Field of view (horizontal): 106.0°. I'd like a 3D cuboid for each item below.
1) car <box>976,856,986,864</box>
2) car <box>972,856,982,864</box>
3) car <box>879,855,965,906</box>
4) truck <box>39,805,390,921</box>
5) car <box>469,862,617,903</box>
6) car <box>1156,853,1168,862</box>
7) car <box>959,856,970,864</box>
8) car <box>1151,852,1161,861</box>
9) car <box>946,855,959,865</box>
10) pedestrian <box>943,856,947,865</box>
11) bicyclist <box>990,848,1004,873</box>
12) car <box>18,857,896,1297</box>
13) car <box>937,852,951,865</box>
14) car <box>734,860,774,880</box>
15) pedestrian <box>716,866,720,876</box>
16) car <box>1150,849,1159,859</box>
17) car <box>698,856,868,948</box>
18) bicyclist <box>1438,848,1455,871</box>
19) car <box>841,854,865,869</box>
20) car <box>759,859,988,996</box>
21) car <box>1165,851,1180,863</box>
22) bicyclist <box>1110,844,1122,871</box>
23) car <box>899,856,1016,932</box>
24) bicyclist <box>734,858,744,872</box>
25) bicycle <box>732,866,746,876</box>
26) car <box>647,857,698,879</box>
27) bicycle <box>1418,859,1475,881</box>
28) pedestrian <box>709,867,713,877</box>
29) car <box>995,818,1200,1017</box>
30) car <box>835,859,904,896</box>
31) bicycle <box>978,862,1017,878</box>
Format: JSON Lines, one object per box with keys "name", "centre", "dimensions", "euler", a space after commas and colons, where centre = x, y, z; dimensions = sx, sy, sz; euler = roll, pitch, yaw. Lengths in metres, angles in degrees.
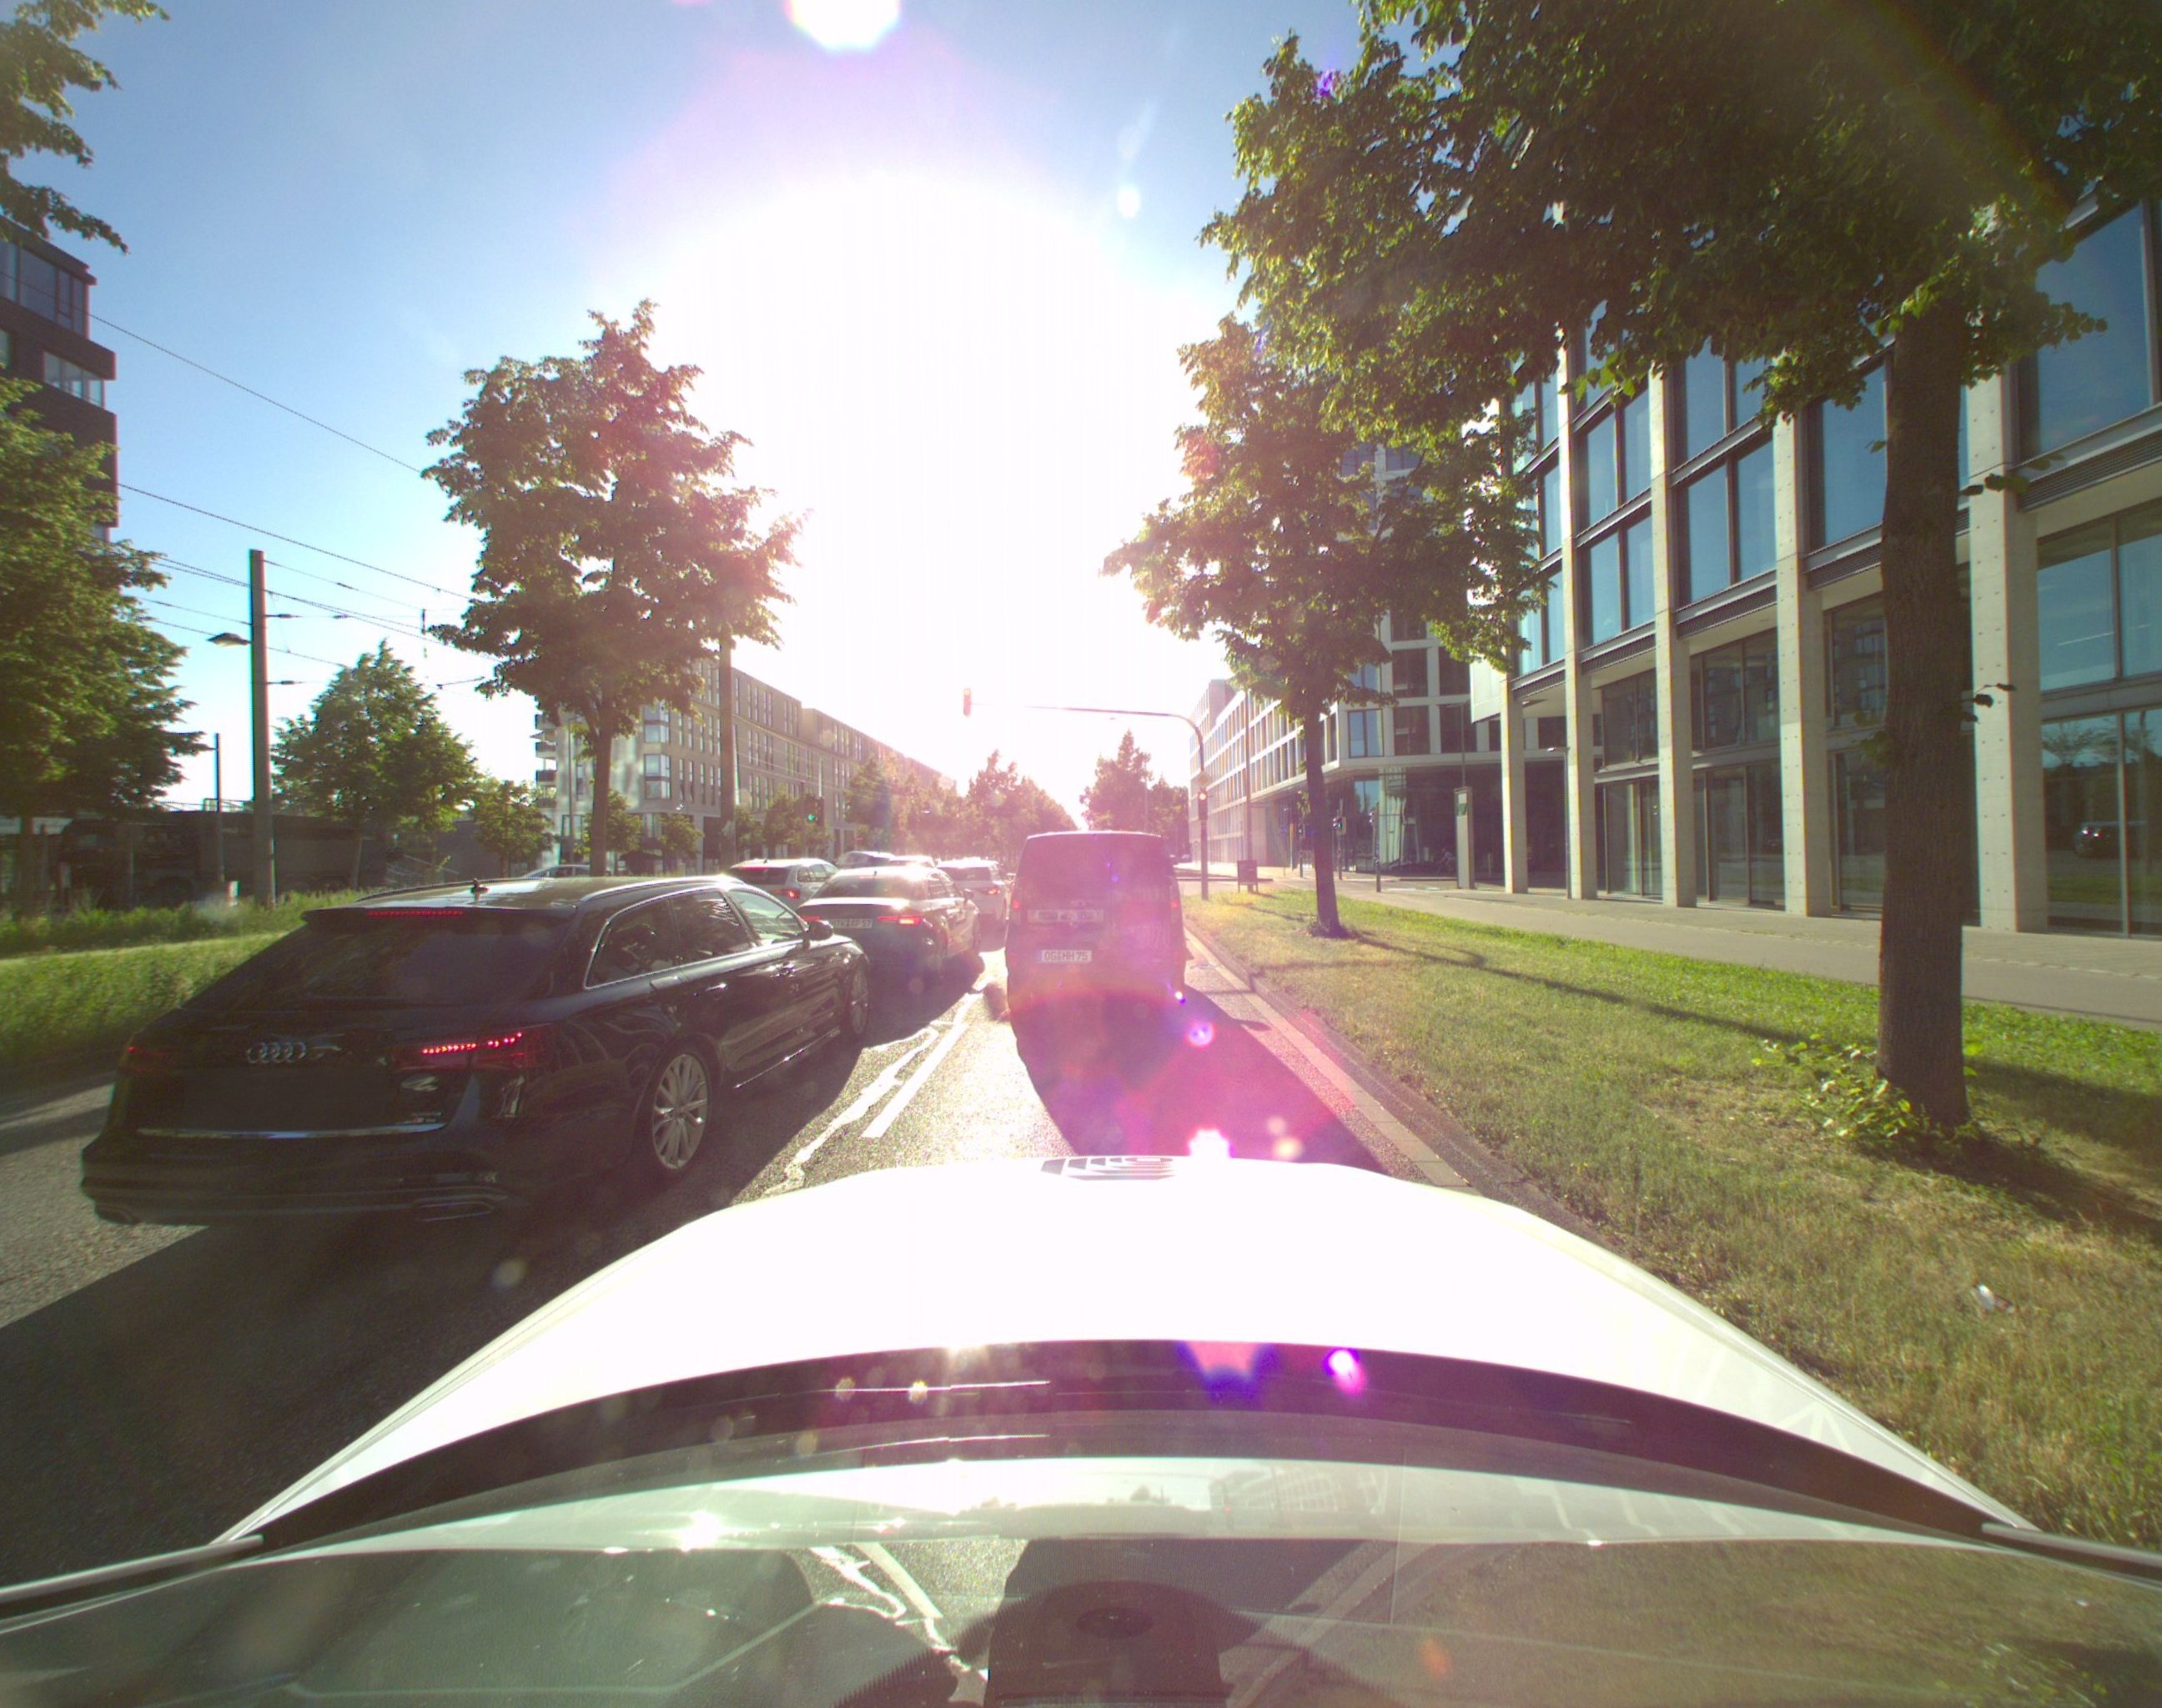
{"name": "car", "centre": [-27.438, 1.592, 223.803], "dimensions": [1.986, 2.013, 4.002], "euler": [-1, 0, 2]}
{"name": "car", "centre": [-27.896, 1.554, 218.187], "dimensions": [1.986, 2.013, 4.002], "euler": [-1, 0, 2]}
{"name": "car", "centre": [-5.006, 0.776, 26.223], "dimensions": [1.793, 1.447, 4.568], "euler": [-1, 0, 0]}
{"name": "truck", "centre": [-33.634, 0.299, 32.637], "dimensions": [2.880, 3.853, 10.217], "euler": [-1, 0, 2]}
{"name": "car", "centre": [-21.558, 1.129, 32.806], "dimensions": [1.782, 1.483, 4.597], "euler": [2, 0, 37]}
{"name": "car", "centre": [15.967, 0.647, 160.466], "dimensions": [1.986, 1.782, 4.002], "euler": [-1, 0, 2]}
{"name": "car", "centre": [-28.607, 1.444, 200.174], "dimensions": [1.986, 2.013, 4.002], "euler": [-1, 0, 2]}
{"name": "car", "centre": [16.510, 0.562, 179.667], "dimensions": [1.986, 1.782, 4.002], "euler": [-1, 0, 2]}
{"name": "car", "centre": [-28.898, 1.348, 183.355], "dimensions": [1.986, 2.013, 4.002], "euler": [-1, 0, 2]}
{"name": "pedestrian", "centre": [-33.495, 1.614, 200.070], "dimensions": [0.803, 2.013, 0.871], "euler": [-1, 0, 1]}
{"name": "bicyclist", "centre": [-6.639, 0.509, 64.536], "dimensions": [0.994, 1.947, 0.818], "euler": [-1, 0, 2]}
{"name": "car", "centre": [-2.758, 0.790, 5.350], "dimensions": [1.868, 1.484, 4.967], "euler": [-1, 0, 1]}
{"name": "car", "centre": [-28.433, 0.984, 169.280], "dimensions": [1.986, 2.607, 4.002], "euler": [-1, 0, 2]}
{"name": "car", "centre": [-31.800, 1.548, 79.235], "dimensions": [1.986, 1.814, 4.372], "euler": [-1, 0, 2]}
{"name": "pedestrian", "centre": [-39.877, 1.892, 89.397], "dimensions": [0.253, 1.085, 0.289], "euler": [-1, 0, 1]}
{"name": "car", "centre": [17.894, 0.045, 198.169], "dimensions": [1.986, 2.497, 4.988], "euler": [-1, 0, 2]}
{"name": "car", "centre": [-5.545, 0.813, 15.743], "dimensions": [1.508, 1.492, 4.219], "euler": [-1, 0, 3]}
{"name": "bicyclist", "centre": [20.268, 0.290, 45.193], "dimensions": [0.676, 1.275, 0.824], "euler": [-1, 0, 13]}
{"name": "car", "centre": [-30.881, 1.003, 110.585], "dimensions": [1.986, 2.013, 4.002], "euler": [-1, 0, 2]}
{"name": "car", "centre": [-2.500, 0.813, 11.010], "dimensions": [1.835, 1.426, 4.340], "euler": [-1, 0, 2]}
{"name": "car", "centre": [14.323, 0.443, 127.772], "dimensions": [1.986, 1.782, 4.002], "euler": [-1, 0, 2]}
{"name": "bicyclist", "centre": [2.746, 0.246, 64.037], "dimensions": [0.936, 2.092, 0.818], "euler": [-1, 0, 1]}
{"name": "car", "centre": [-2.549, 0.789, 17.716], "dimensions": [1.797, 1.426, 3.902], "euler": [-1, 0, 2]}
{"name": "bicyclist", "centre": [-37.237, 1.232, 88.671], "dimensions": [0.674, 1.529, 0.714], "euler": [-1, 0, 1]}
{"name": "bicycle", "centre": [-37.227, 1.827, 88.734], "dimensions": [0.674, 0.988, 1.957], "euler": [-1, 0, 2]}
{"name": "car", "centre": [-31.047, 1.050, 62.064], "dimensions": [1.758, 1.520, 4.002], "euler": [-1, 0, 2]}
{"name": "bicycle", "centre": [20.262, 0.891, 45.205], "dimensions": [2.816, 1.114, 0.824], "euler": [-1, 0, 14]}
{"name": "pedestrian", "centre": [-40.630, 1.935, 89.367], "dimensions": [0.253, 1.085, 0.260], "euler": [-1, 0, 1]}
{"name": "car", "centre": [0.209, 0.581, 9.419], "dimensions": [1.835, 1.780, 4.002], "euler": [-1, 0, 2]}
{"name": "car", "centre": [-9.329, 1.042, 35.608], "dimensions": [1.810, 1.447, 4.525], "euler": [-1, -2, -29]}
{"name": "bicycle", "centre": [-6.622, 1.234, 64.516], "dimensions": [2.930, 1.190, 0.818], "euler": [-1, 0, 2]}
